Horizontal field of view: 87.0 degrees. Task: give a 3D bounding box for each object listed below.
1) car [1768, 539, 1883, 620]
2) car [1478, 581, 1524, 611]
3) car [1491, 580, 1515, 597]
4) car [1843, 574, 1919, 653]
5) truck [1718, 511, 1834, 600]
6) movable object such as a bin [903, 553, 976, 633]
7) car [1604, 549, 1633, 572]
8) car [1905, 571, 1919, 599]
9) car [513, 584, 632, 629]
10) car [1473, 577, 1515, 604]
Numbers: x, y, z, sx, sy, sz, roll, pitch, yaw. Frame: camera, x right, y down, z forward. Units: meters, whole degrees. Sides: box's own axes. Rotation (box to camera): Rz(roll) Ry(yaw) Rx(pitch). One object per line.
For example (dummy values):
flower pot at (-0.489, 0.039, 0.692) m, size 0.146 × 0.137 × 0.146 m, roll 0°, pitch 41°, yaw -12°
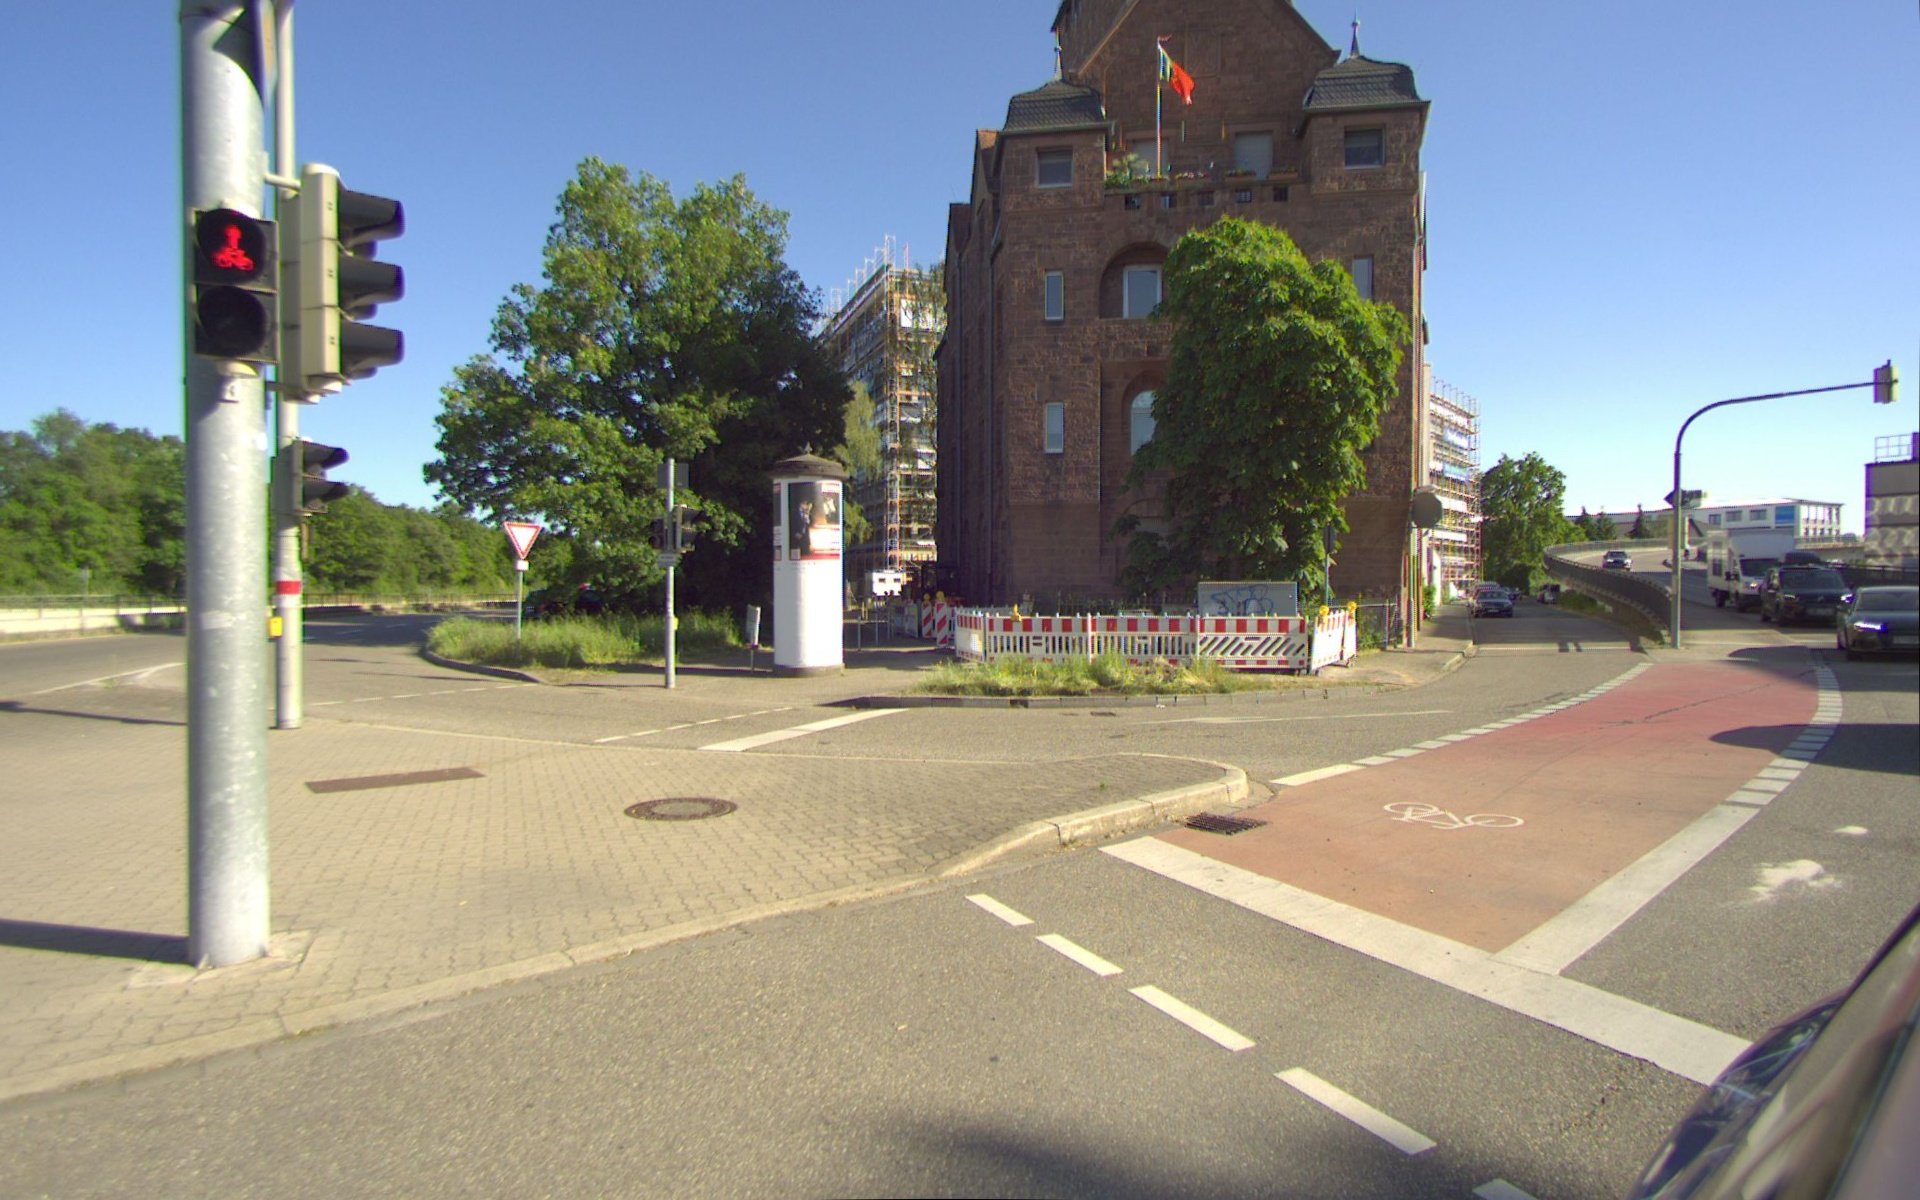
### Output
car at (26.378, -0.612, 31.020) m, size 1.936 × 2.290 × 4.731 m, roll 0°, pitch 1°, yaw 32°
car at (28.609, -0.230, 53.598) m, size 2.034 × 1.551 × 4.055 m, roll 0°, pitch 0°, yaw 26°
car at (60.180, -1.284, 112.119) m, size 1.748 × 1.781 × 4.147 m, roll 1°, pitch 1°, yaw 37°
car at (19.729, 0.218, 20.981) m, size 1.870 × 1.489 × 4.572 m, roll -1°, pitch 0°, yaw 38°
truck at (31.853, -1.643, 39.777) m, size 2.483 × 3.167 × 6.886 m, roll 0°, pitch 1°, yaw 30°
movable object such as a bin at (-0.737, -0.253, 32.999) m, size 1.959 × 2.439 × 4.006 m, roll 0°, pitch 1°, yaw -7°
car at (55.750, -3.307, 85.590) m, size 1.748 × 1.781 × 4.721 m, roll 1°, pitch 1°, yaw 37°
car at (56.177, -0.868, 58.027) m, size 1.983 × 1.527 × 3.959 m, roll -2°, pitch 1°, yaw 30°
car at (-14.567, 0.202, 38.208) m, size 1.989 × 1.581 × 3.731 m, roll 1°, pitch 1°, yaw 37°
car at (31.853, -0.566, 60.483) m, size 2.033 × 1.551 × 4.056 m, roll 0°, pitch 0°, yaw 26°
